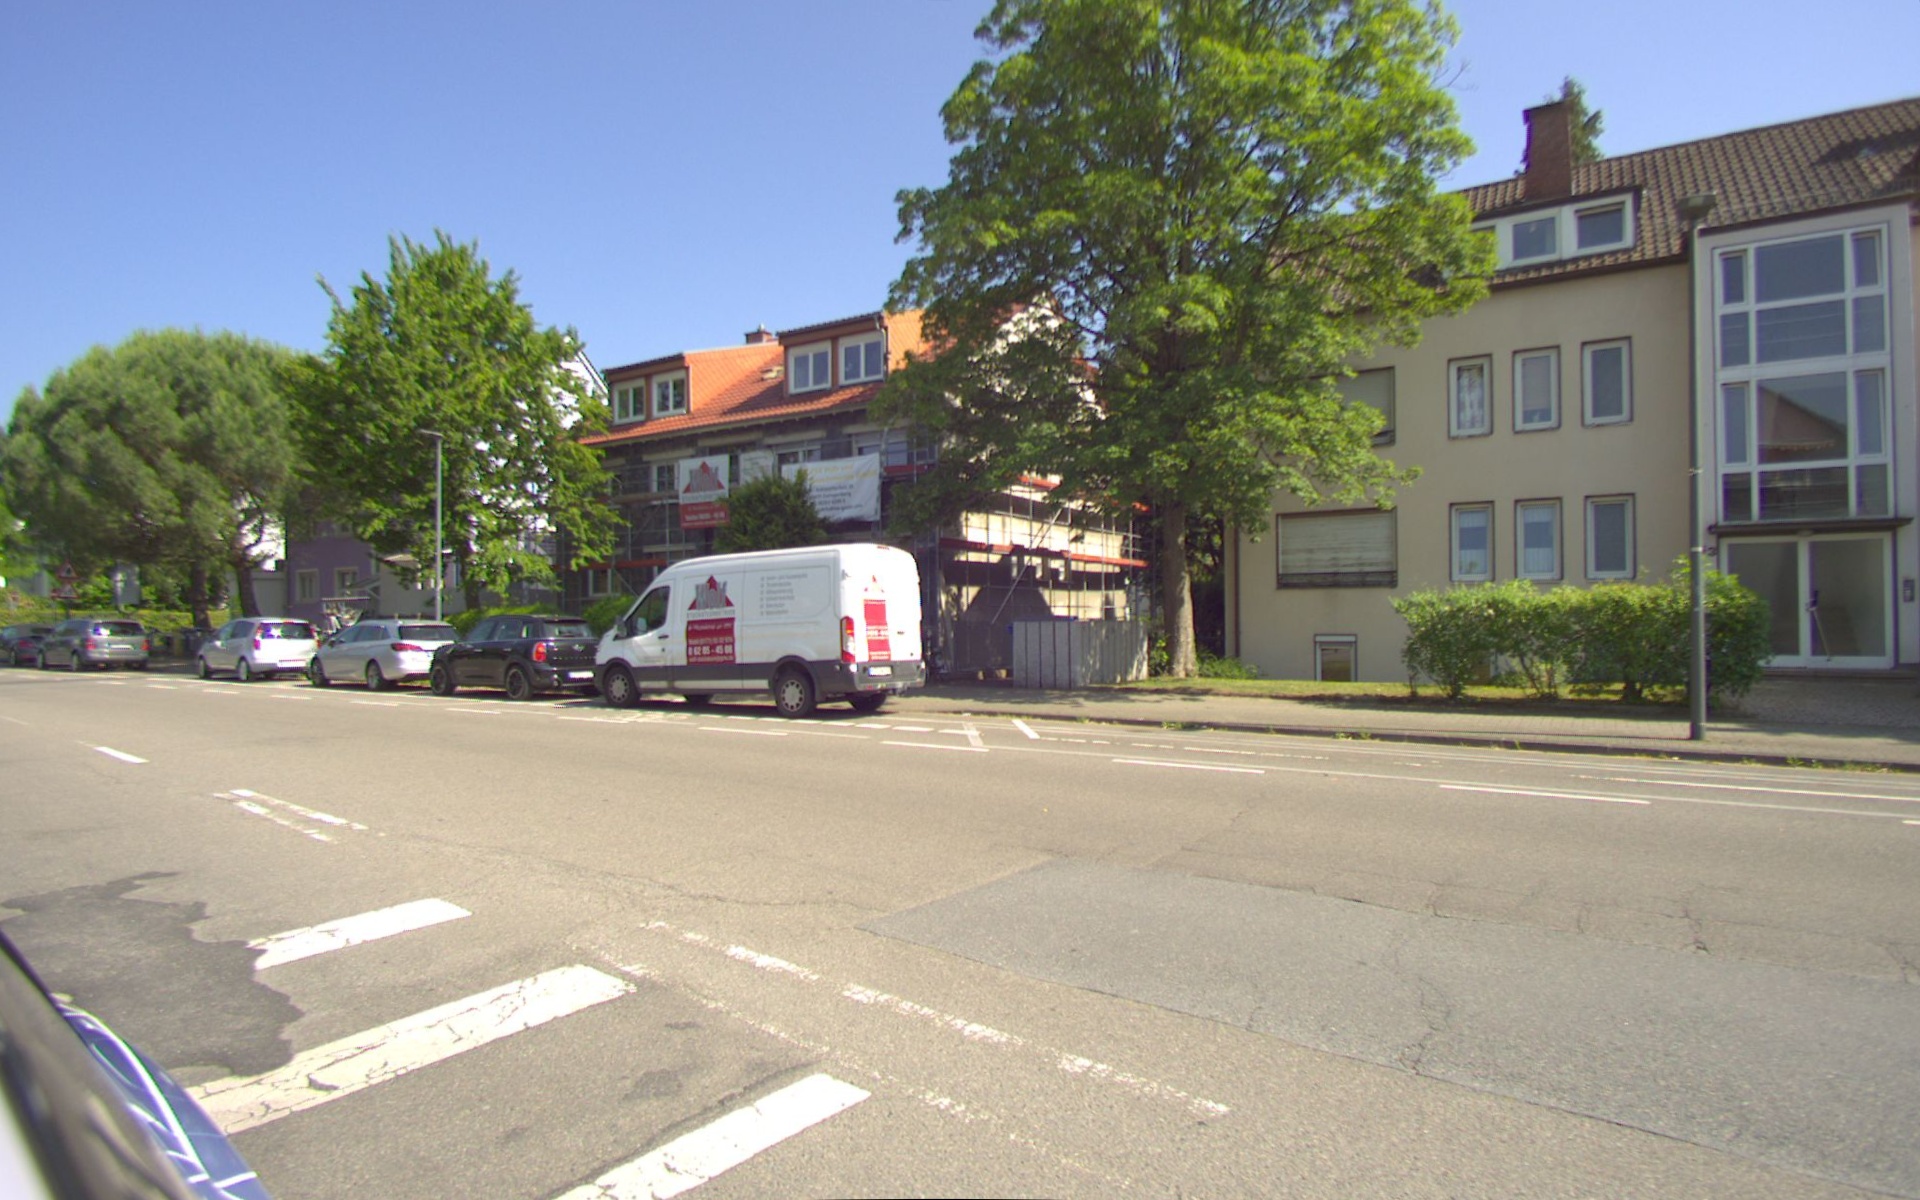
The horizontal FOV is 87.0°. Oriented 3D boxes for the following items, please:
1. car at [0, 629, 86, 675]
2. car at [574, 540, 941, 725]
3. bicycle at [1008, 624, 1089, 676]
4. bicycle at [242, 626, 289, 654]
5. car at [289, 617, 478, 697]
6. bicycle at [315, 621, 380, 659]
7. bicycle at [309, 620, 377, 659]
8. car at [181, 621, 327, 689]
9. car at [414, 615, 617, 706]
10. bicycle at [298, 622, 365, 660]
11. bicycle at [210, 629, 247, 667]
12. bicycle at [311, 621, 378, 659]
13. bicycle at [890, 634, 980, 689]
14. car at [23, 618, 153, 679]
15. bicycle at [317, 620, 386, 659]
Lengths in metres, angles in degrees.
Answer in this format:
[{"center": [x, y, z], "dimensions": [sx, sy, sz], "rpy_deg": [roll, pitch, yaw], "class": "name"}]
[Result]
[{"center": [-31.549, 1.734, 34.261], "dimensions": [4.180, 1.468, 1.826], "rpy_deg": [-2, -3, 33], "class": "car"}, {"center": [-3.360, 0.541, 16.212], "dimensions": [5.930, 2.516, 2.074], "rpy_deg": [-2, -3, 31], "class": "car"}, {"center": [2.216, 1.207, 24.994], "dimensions": [0.774, 1.179, 2.669], "rpy_deg": [-1, -1, 35], "class": "bicycle"}, {"center": [-25.146, 1.433, 36.685], "dimensions": [0.452, 0.961, 1.914], "rpy_deg": [0, -1, -2], "class": "bicycle"}, {"center": [-12.546, 1.206, 21.931], "dimensions": [4.660, 1.571, 1.706], "rpy_deg": [-2, -3, 34], "class": "car"}, {"center": [-23.249, 1.512, 38.463], "dimensions": [0.501, 1.394, 2.156], "rpy_deg": [-2, -2, 30], "class": "bicycle"}, {"center": [-22.682, 1.449, 37.245], "dimensions": [0.501, 1.394, 2.156], "rpy_deg": [-2, -2, 30], "class": "bicycle"}, {"center": [-17.727, 1.357, 25.366], "dimensions": [3.990, 1.571, 1.706], "rpy_deg": [-2, -3, 34], "class": "car"}, {"center": [-8.508, 1.110, 19.282], "dimensions": [3.990, 1.571, 1.706], "rpy_deg": [-2, -3, 34], "class": "car"}, {"center": [-23.864, 1.551, 38.457], "dimensions": [0.500, 1.394, 2.156], "rpy_deg": [-2, -2, 30], "class": "bicycle"}, {"center": [-25.463, 1.651, 35.237], "dimensions": [1.909, 1.276, 0.454], "rpy_deg": [-1, -1, 35], "class": "bicycle"}, {"center": [-22.981, 1.487, 37.819], "dimensions": [0.501, 1.394, 2.156], "rpy_deg": [-2, -2, 30], "class": "bicycle"}, {"center": [-0.481, 1.224, 20.572], "dimensions": [0.774, 1.008, 2.050], "rpy_deg": [-1, -1, 35], "class": "bicycle"}, {"center": [-27.023, 1.478, 31.327], "dimensions": [4.571, 1.778, 1.826], "rpy_deg": [-2, -3, 33], "class": "car"}, {"center": [-22.176, 1.433, 36.924], "dimensions": [0.501, 1.394, 2.156], "rpy_deg": [-2, -2, 30], "class": "bicycle"}]
